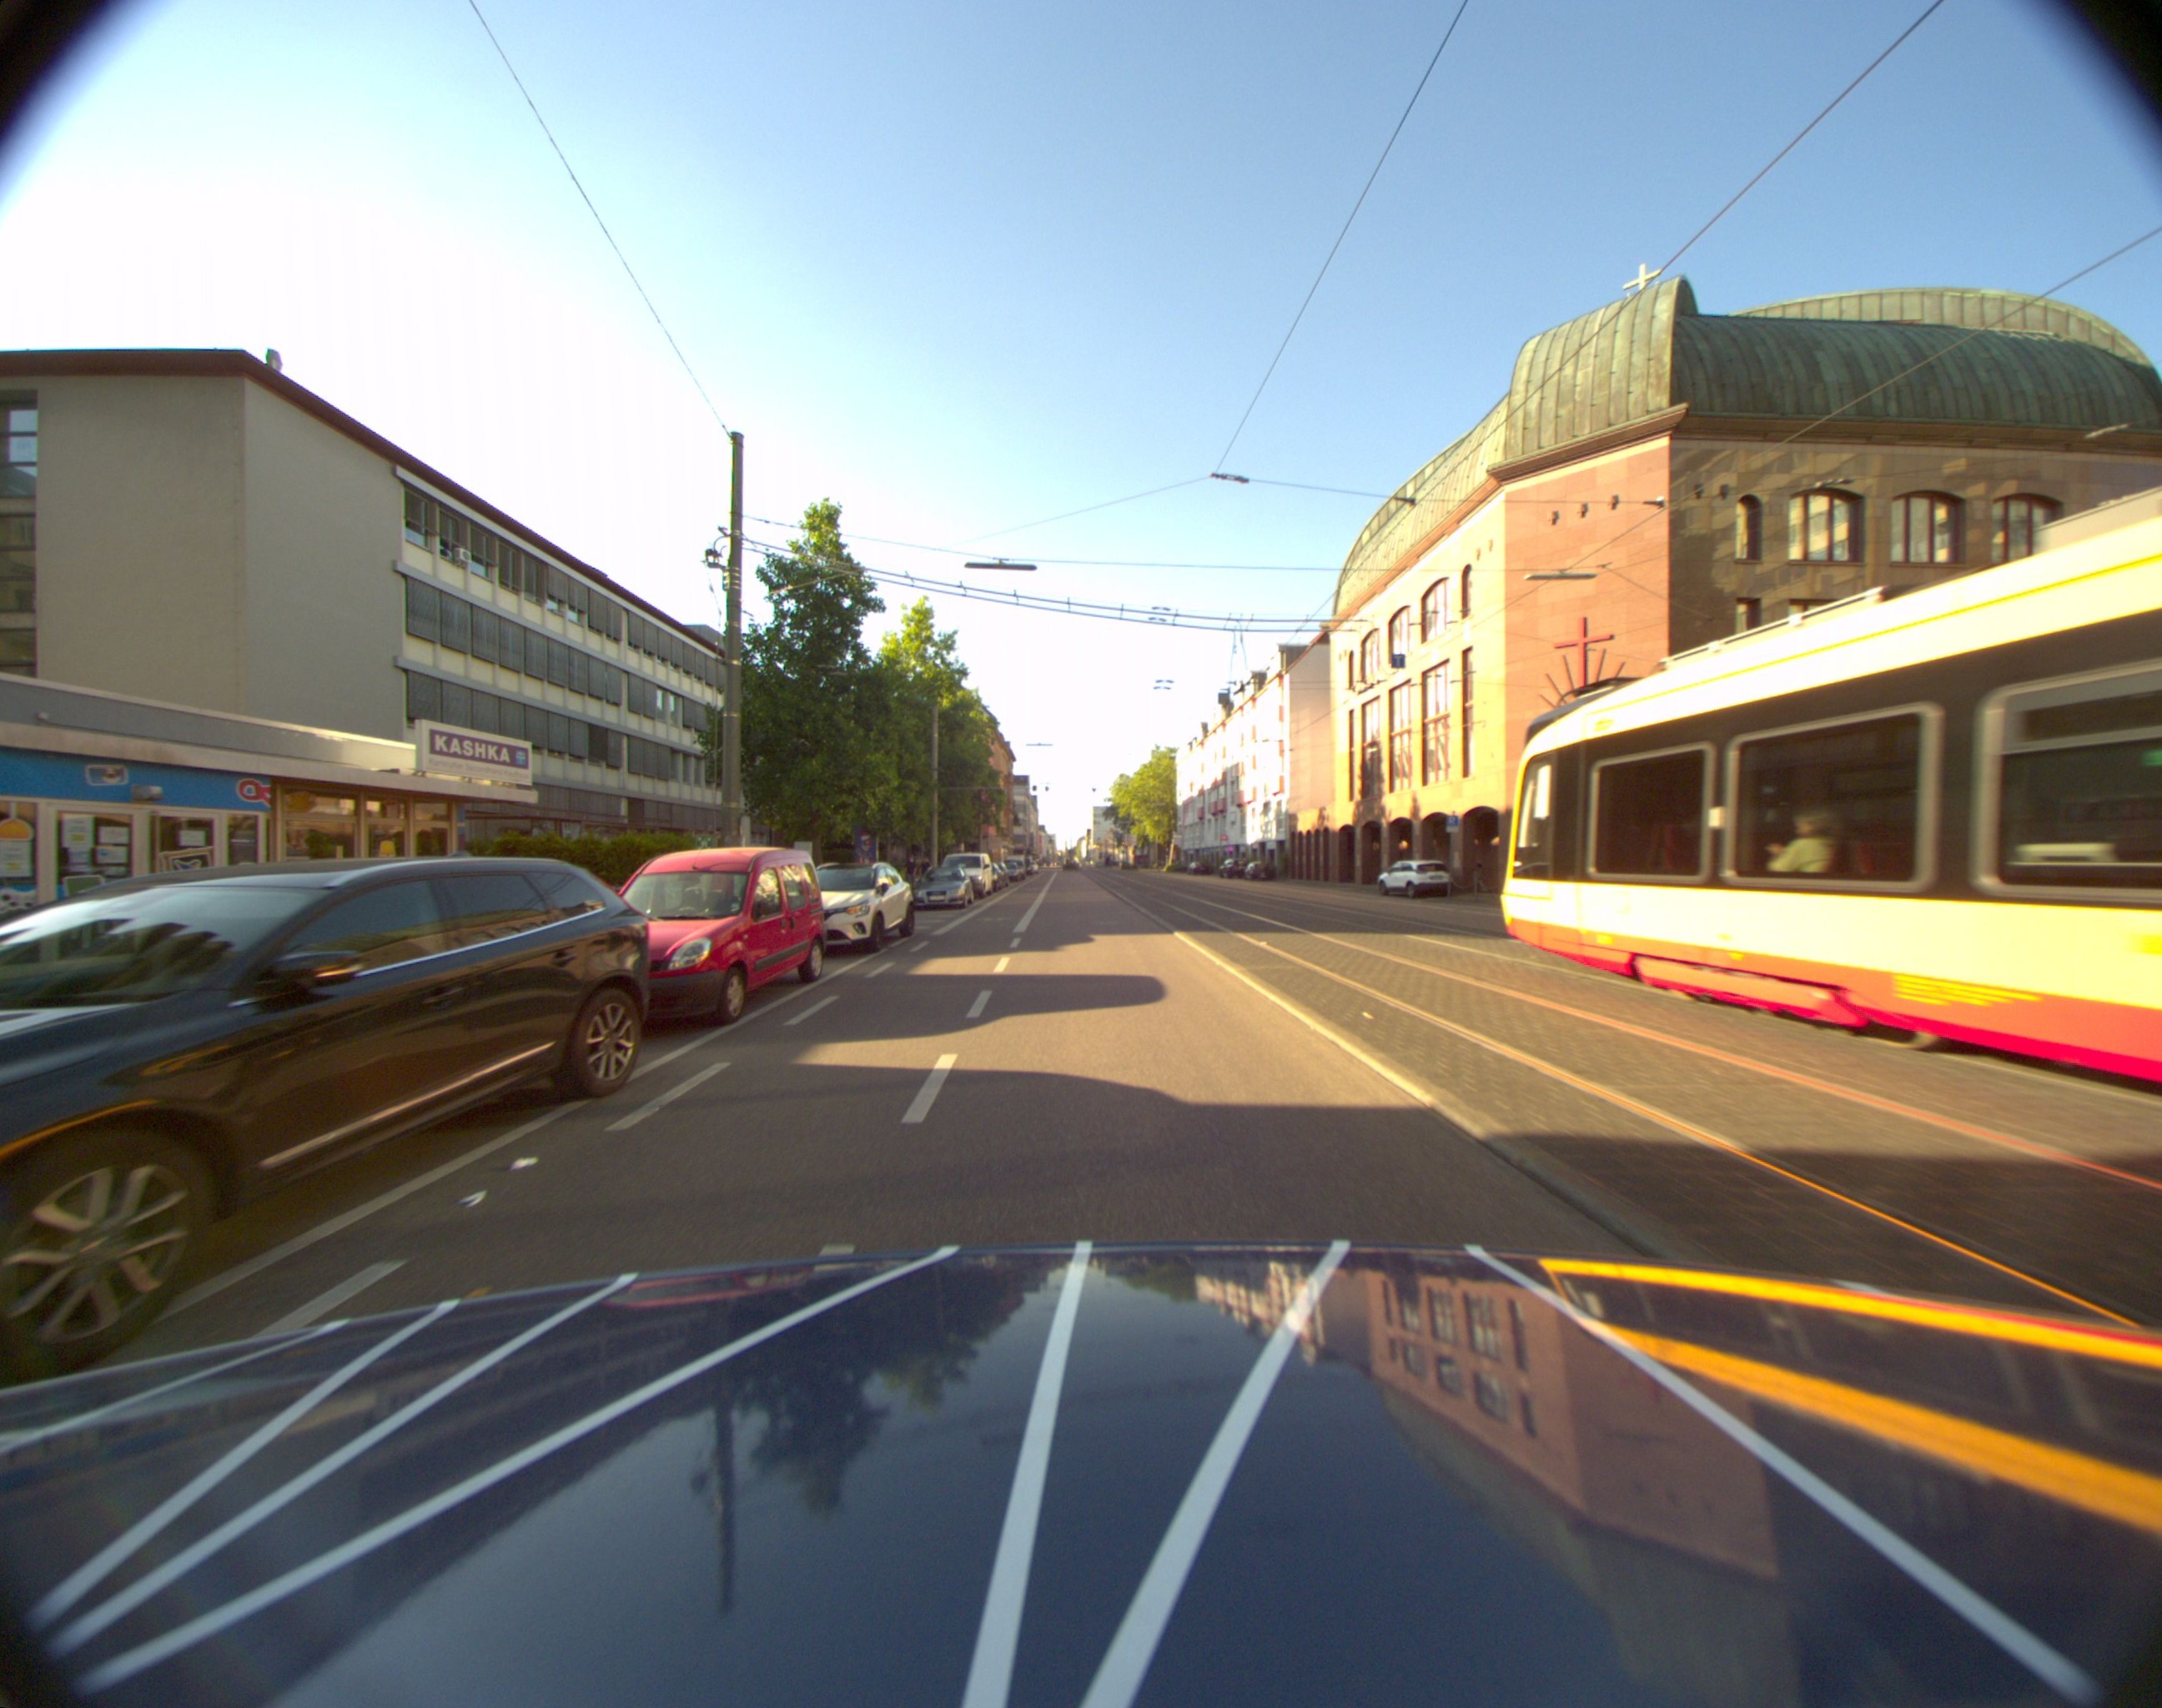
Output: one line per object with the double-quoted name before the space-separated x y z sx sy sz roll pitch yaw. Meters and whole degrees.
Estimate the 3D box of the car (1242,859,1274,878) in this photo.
"car" 14.047 1.134 60.552 1.646 1.392 3.683 -2 0 0

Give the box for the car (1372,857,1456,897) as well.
"car" 14.654 0.975 33.680 1.599 1.581 4.276 -2 0 -3

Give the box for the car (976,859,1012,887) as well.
"car" -5.031 1.084 44.350 1.597 1.485 3.901 -1 0 1

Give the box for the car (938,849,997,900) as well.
"car" -4.886 0.850 33.332 1.882 2.009 4.904 -2 0 -1

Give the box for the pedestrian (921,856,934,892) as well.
"pedestrian" -7.408 0.954 36.648 0.494 1.703 0.437 2 0 -2

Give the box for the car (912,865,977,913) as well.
"car" -4.741 1.176 26.866 1.679 1.396 4.166 -2 1 -2

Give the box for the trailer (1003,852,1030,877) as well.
"trailer" -5.669 0.880 67.766 1.784 2.136 5.315 -2 0 1

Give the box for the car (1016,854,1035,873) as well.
"car" -5.683 0.994 78.857 1.697 1.832 4.694 -2 0 -1

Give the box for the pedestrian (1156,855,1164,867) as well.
"pedestrian" 11.403 1.044 110.316 1.096 1.768 1.253 0 0 3

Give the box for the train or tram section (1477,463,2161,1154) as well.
"train or tram section" 6.904 -0.233 4.129 2.766 3.530 12.465 0 0 -1

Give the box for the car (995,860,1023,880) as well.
"car" -5.337 1.184 56.989 1.784 1.420 4.212 -2 0 -1

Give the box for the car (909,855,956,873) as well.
"car" -14.702 0.976 75.345 4.368 1.662 1.588 2 0 -5

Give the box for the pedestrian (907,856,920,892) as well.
"pedestrian" -8.096 0.974 36.651 0.494 1.703 0.437 2 0 -2

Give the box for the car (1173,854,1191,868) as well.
"car" 13.544 0.952 102.044 1.931 1.787 4.384 0 0 2

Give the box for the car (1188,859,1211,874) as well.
"car" 13.414 1.395 86.198 1.829 1.500 4.560 -2 0 -1

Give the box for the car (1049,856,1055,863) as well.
"car" -7.706 1.435 201.116 1.420 1.612 3.626 -2 0 -2

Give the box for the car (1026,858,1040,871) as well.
"car" -5.714 1.251 90.442 1.420 1.425 3.871 -2 0 -1

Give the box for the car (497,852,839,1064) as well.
"car" -4.277 0.904 8.767 1.680 1.797 4.248 -2 0 -2

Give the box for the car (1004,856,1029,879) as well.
"car" -5.309 1.087 62.873 1.784 1.735 4.474 -2 0 -2

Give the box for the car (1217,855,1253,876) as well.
"car" 13.564 1.002 67.216 1.964 1.690 4.559 -2 0 -3

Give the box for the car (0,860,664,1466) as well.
"car" -4.132 0.945 3.633 1.825 1.747 4.474 -2 0 -1

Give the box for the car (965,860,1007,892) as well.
"car" -4.913 1.102 39.687 1.688 1.484 3.910 -2 1 0

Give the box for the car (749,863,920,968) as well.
"car" -4.438 1.026 14.436 1.791 1.586 4.326 -2 0 0
